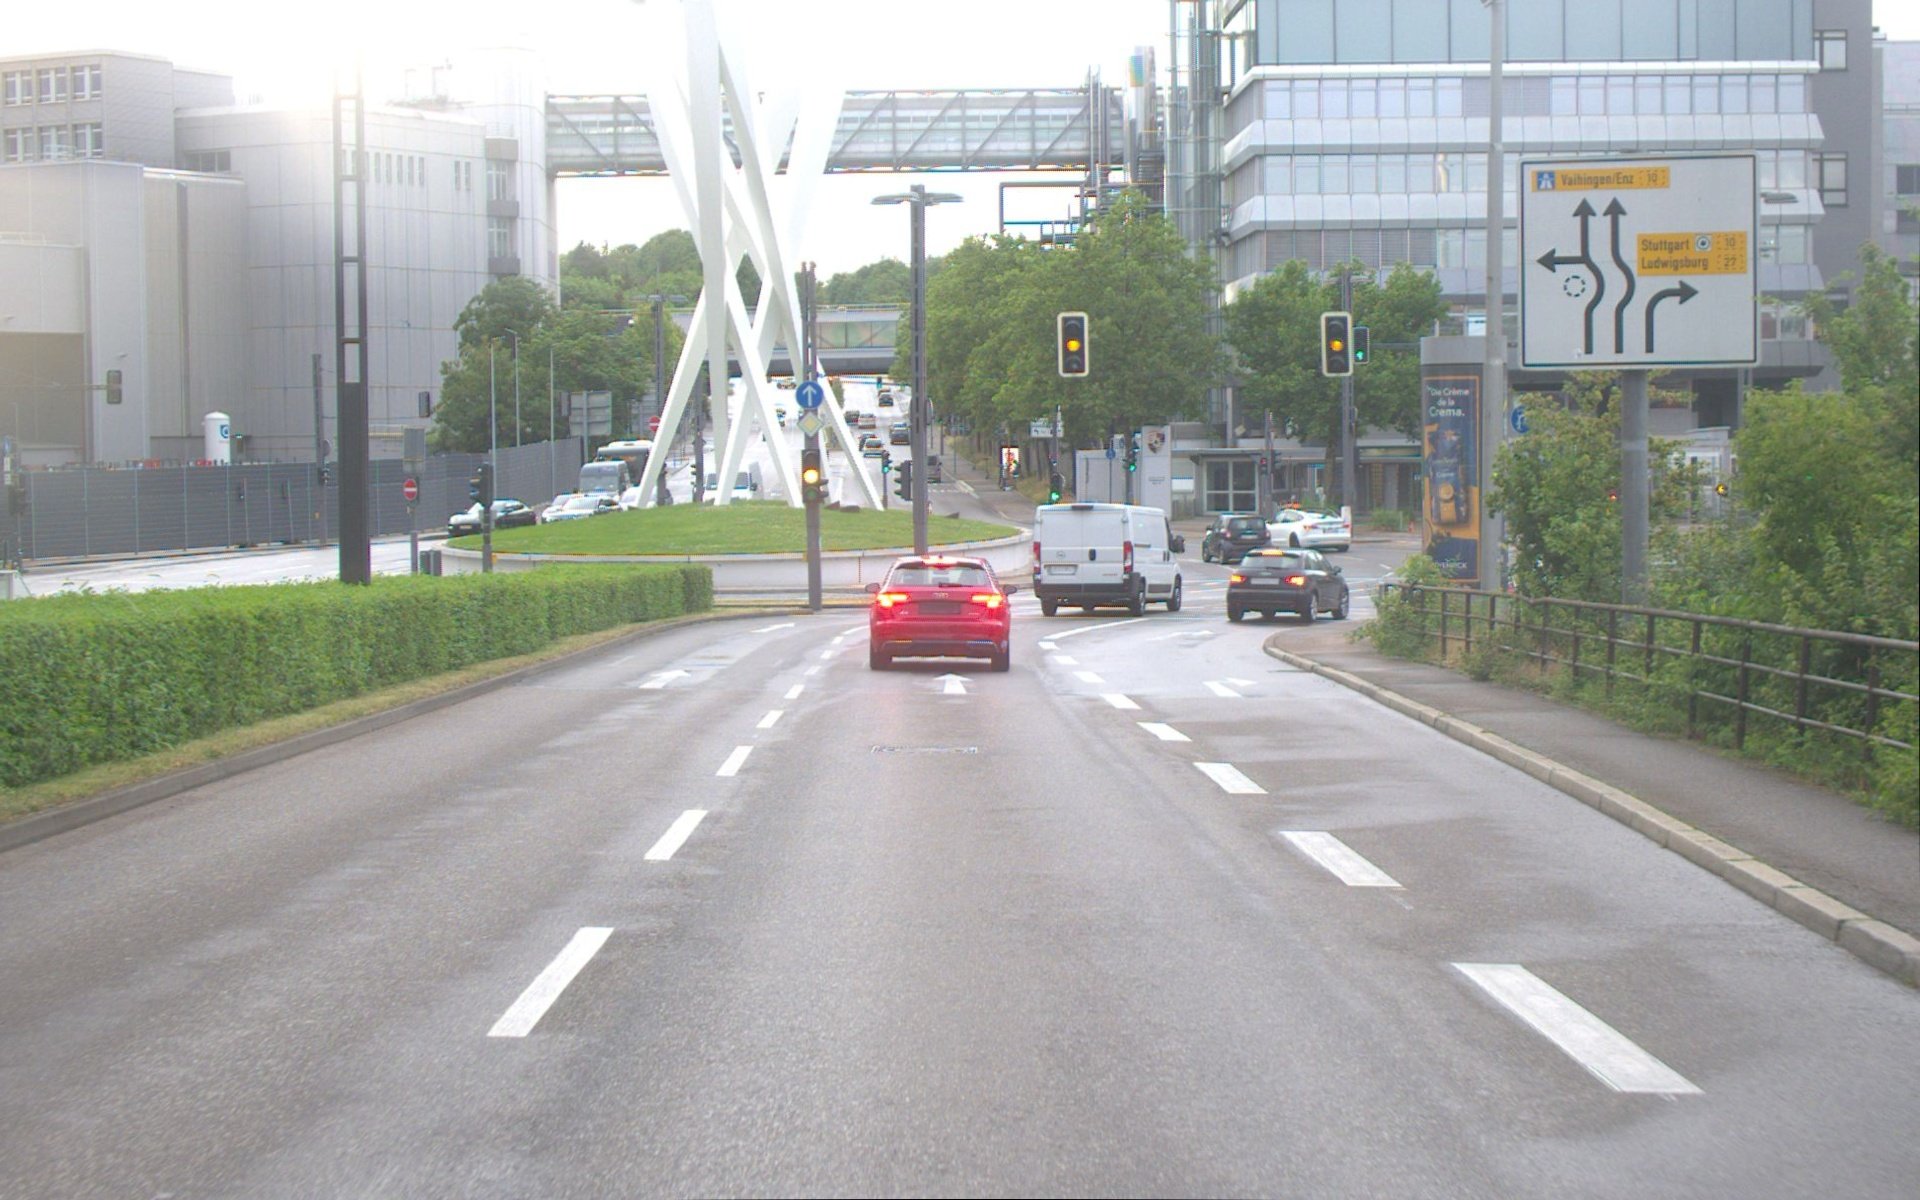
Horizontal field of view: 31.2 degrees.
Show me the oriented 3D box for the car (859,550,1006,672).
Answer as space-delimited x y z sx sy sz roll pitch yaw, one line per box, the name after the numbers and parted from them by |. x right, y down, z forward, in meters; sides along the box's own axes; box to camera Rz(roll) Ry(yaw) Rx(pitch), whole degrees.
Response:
-0.352 0.112 43.468 1.772 1.459 3.733 0 1 -1 | car

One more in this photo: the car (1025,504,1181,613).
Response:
2.937 -0.827 69.599 2.234 2.100 4.951 0 0 14 | car

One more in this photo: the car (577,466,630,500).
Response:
-16.126 -5.286 155.728 1.833 1.467 4.514 0 2 1 | car

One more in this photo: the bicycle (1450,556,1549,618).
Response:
9.904 -0.239 63.168 1.770 1.136 0.678 0 0 7 | bicycle

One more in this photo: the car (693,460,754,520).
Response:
-9.761 -4.541 142.123 1.993 2.438 5.427 -1 2 1 | car

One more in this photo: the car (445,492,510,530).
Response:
-19.029 -3.515 135.720 1.833 1.467 4.514 0 2 1 | car

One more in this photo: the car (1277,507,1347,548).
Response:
11.433 -2.343 111.967 1.667 1.296 3.886 0 1 -3 | car

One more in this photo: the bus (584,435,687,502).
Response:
-16.054 -6.487 170.971 2.669 3.190 12.667 0 2 6 | bus

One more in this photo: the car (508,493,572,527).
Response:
-16.583 -3.556 135.899 1.845 1.333 4.000 0 2 3 | car

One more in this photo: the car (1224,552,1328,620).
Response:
6.198 -0.281 67.174 1.611 1.286 3.564 0 1 12 | car

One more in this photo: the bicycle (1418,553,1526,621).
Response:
8.997 -0.227 60.455 1.800 1.157 0.592 -1 0 3 | bicycle

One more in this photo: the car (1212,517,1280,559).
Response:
8.865 -1.917 106.763 1.557 1.284 3.414 0 1 -5 | car
